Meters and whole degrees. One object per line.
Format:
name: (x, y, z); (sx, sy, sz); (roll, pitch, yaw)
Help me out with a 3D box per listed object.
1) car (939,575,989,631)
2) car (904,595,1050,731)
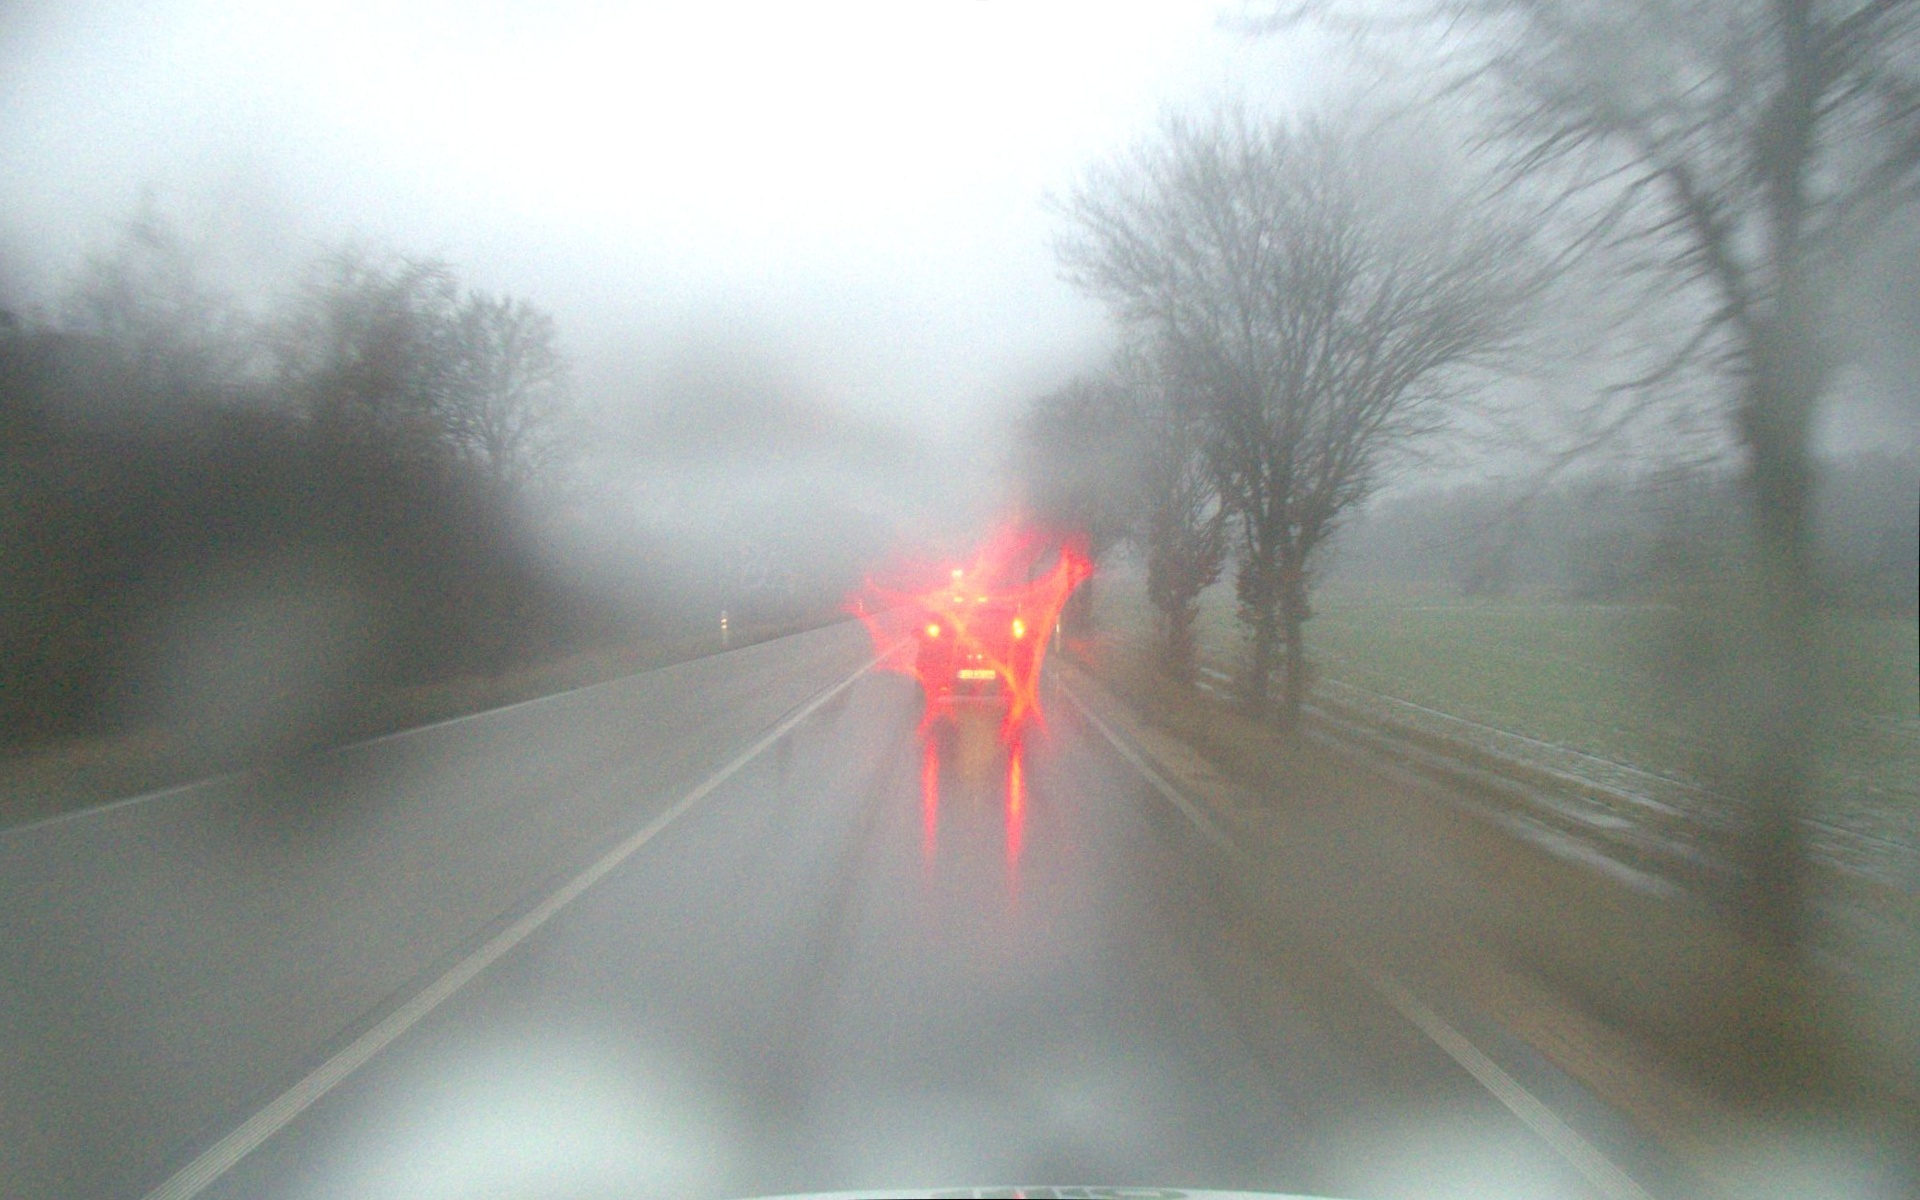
car: (0.211, 0.093, 77.345); (1.953, 2.046, 4.005); (5, 6, 2)
car: (0.265, 0.838, 24.257); (1.952, 1.782, 4.001); (0, 1, 1)
